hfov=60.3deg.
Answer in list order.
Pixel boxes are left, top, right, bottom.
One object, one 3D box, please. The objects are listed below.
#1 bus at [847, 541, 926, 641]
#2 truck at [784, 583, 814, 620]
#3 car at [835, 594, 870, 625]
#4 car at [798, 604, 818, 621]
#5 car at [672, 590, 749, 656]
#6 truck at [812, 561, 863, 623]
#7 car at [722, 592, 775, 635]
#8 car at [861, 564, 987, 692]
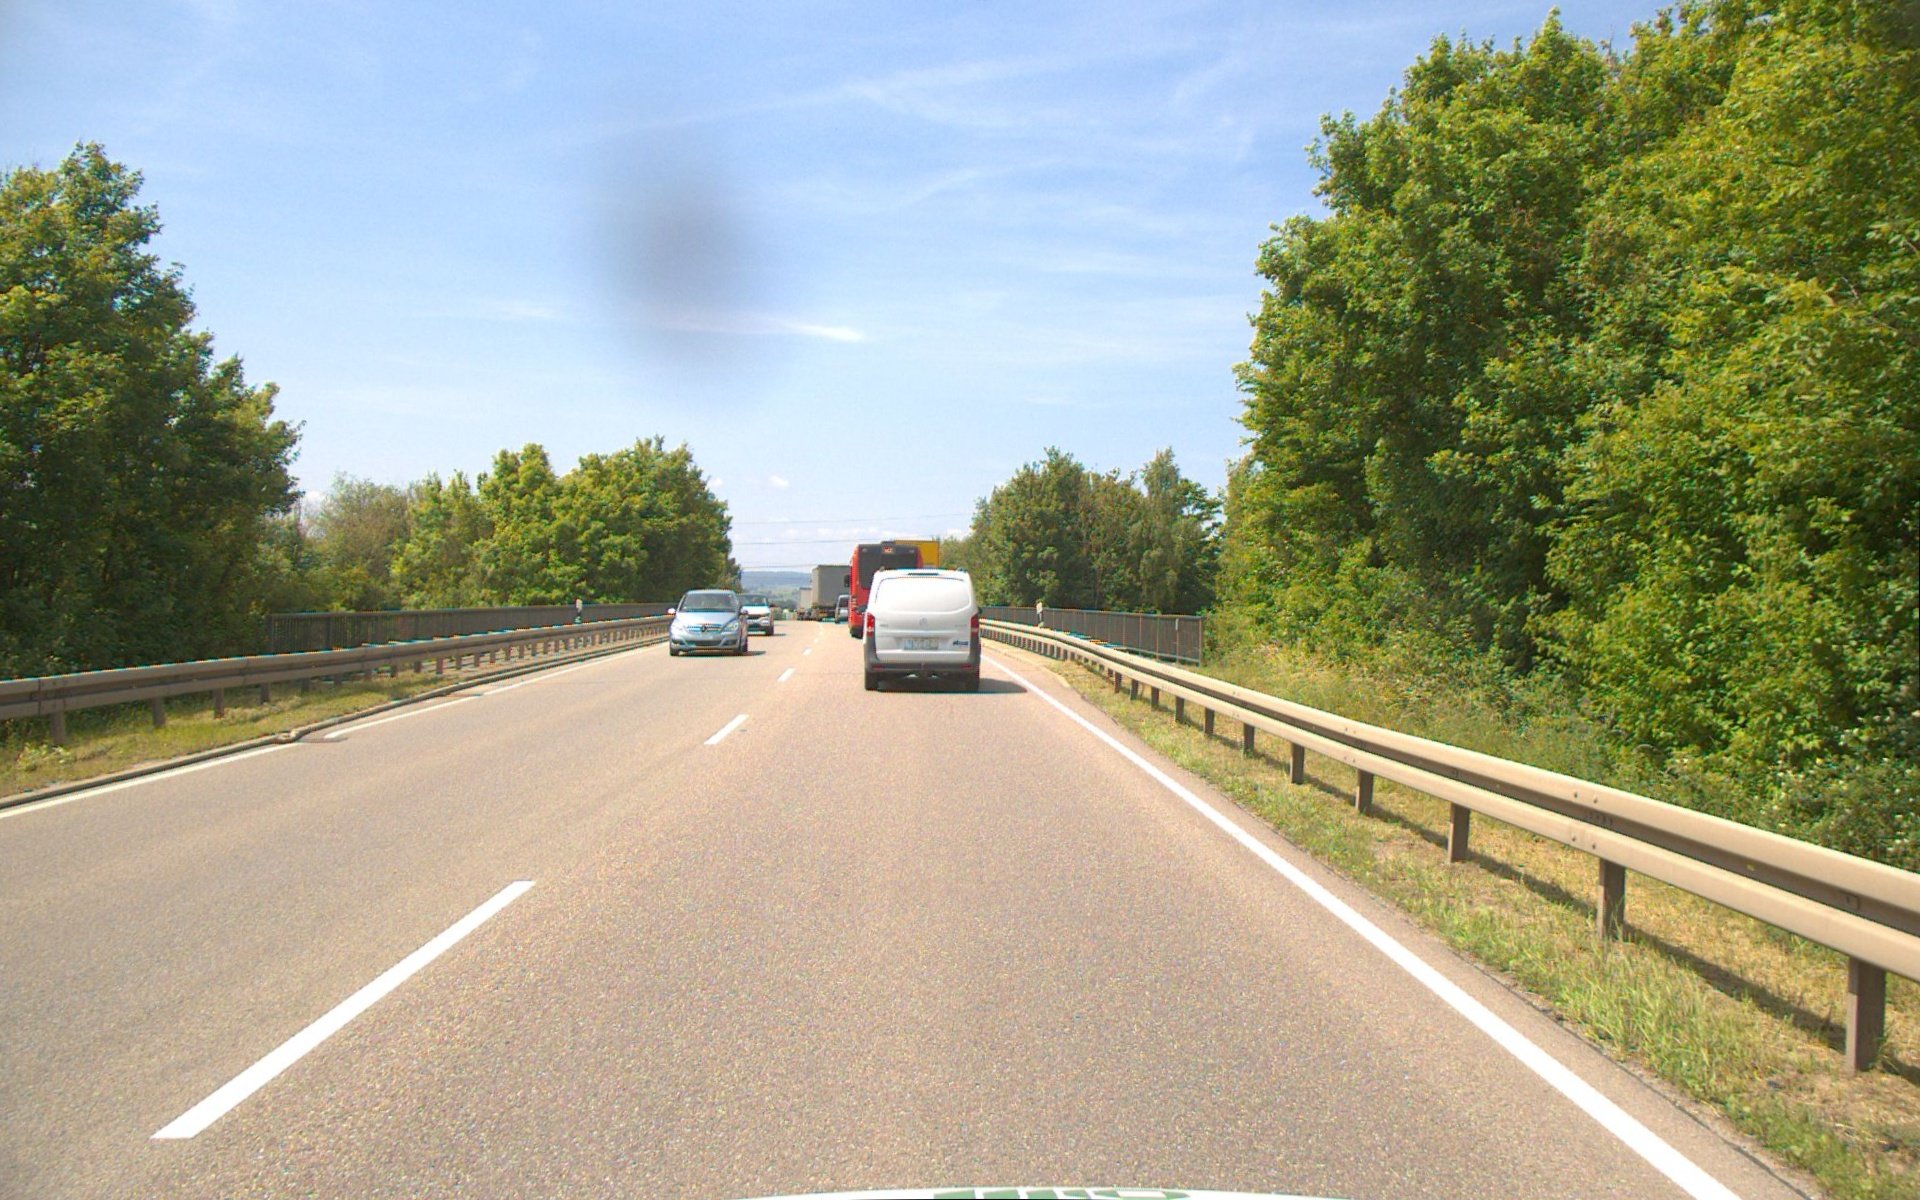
[{"bbox_3d":[-2.915,-0.339,63.344,2.692,3.412,13.212,0,0,-3],"label":"bus"},{"bbox_3d":[-20.536,0.166,209.905,2.979,4.532,14.872,0,0,-9],"label":"truck"},{"bbox_3d":[-6.810,0.601,104.084,1.955,1.847,3.994,1,0,-7],"label":"car"},{"bbox_3d":[-17.267,1.430,187.533,1.957,1.847,3.992,1,0,-9],"label":"car"},{"bbox_3d":[-6.261,0.531,41.839,1.627,1.578,4.334,0,0,-4],"label":"car"},{"bbox_3d":[-9.474,-0.617,126.475,3.421,4.500,14.882,0,0,-6],"label":"truck"},{"bbox_3d":[-7.991,0.476,62.779,1.843,1.538,4.538,0,0,-5],"label":"car"},{"bbox_3d":[-0.671,0.414,27.345,1.885,1.922,3.997,1,0,-4],"label":"car"}]
